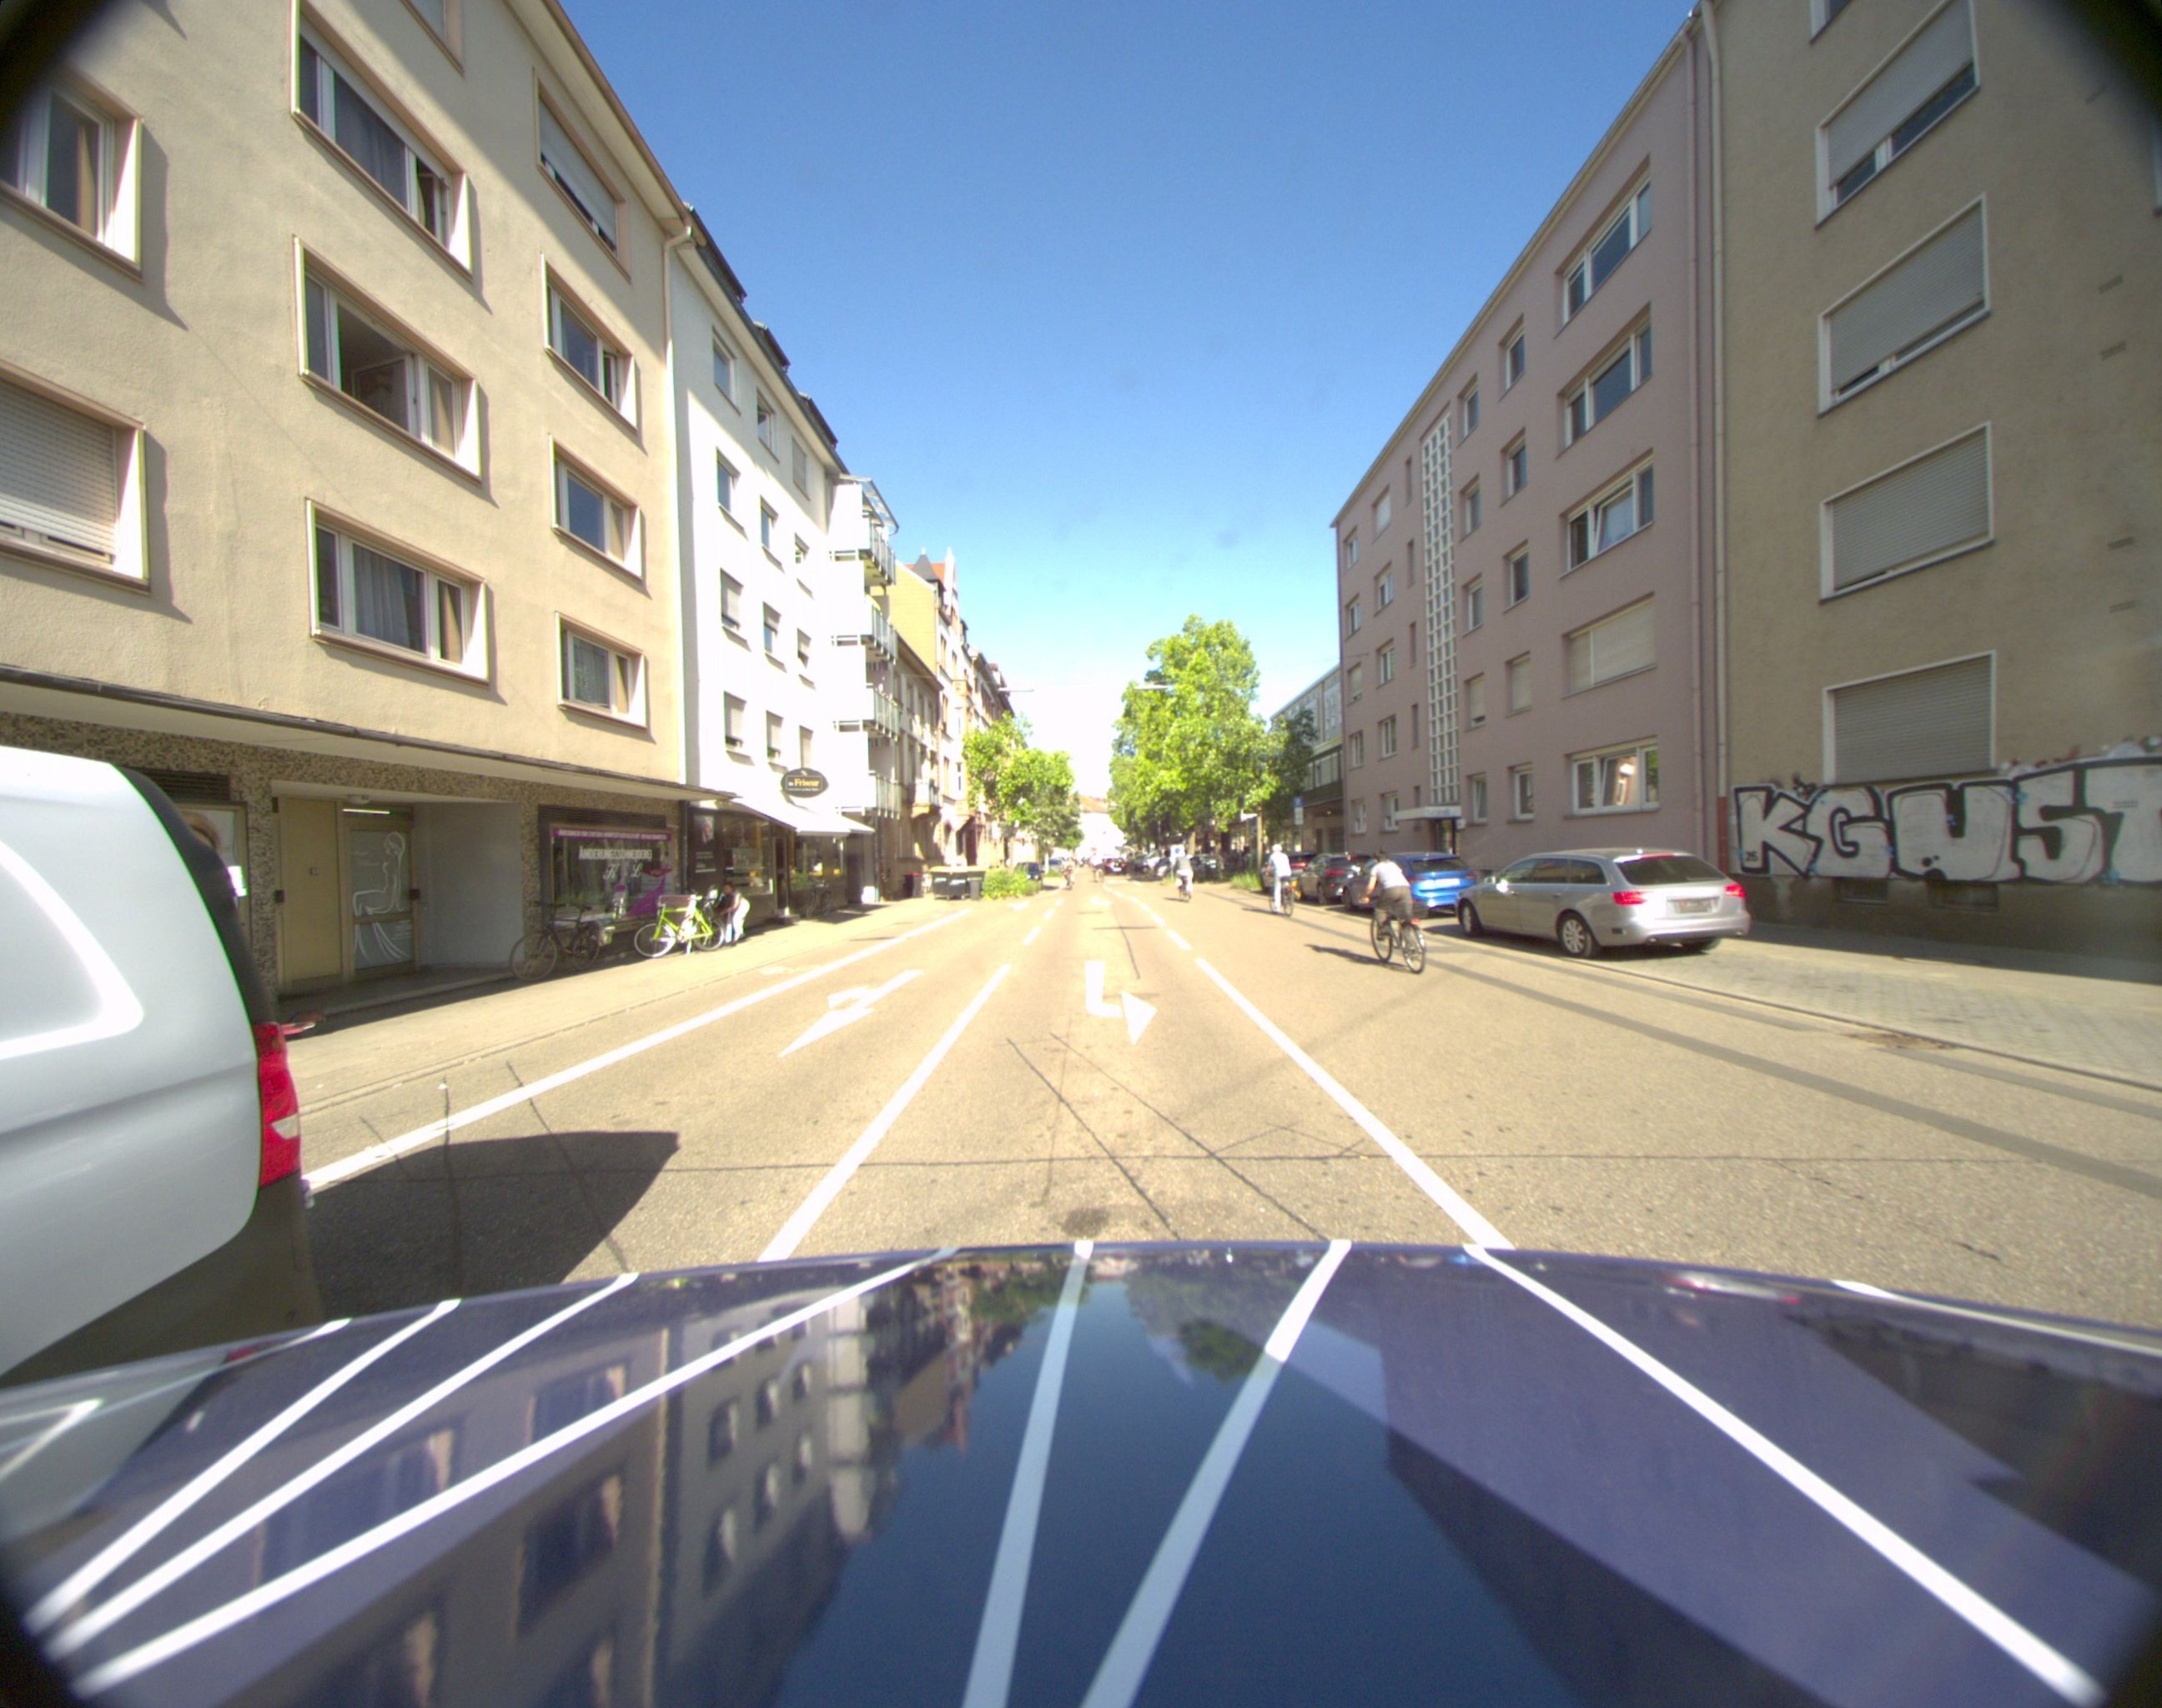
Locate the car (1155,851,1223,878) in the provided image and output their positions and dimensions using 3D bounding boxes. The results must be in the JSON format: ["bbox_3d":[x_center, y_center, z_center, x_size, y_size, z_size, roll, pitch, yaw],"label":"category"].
[{"bbox_3d":[6.625,0.642,46.946,3.996,1.543,1.913,-2,0,3],"label":"car"}]

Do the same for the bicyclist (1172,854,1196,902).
[{"bbox_3d":[3.424,0.781,25.234,0.681,1.567,0.899,0,1,1],"label":"bicyclist"}]

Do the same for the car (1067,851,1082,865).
[{"bbox_3d":[-0.795,0.463,93.502,1.627,1.586,3.547,-2,0,1],"label":"car"}]

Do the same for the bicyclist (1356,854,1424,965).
[{"bbox_3d":[4.024,0.696,9.942,0.544,1.383,0.788,-2,0,1],"label":"bicyclist"}]

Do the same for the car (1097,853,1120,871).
[{"bbox_3d":[2.434,0.676,68.631,1.911,1.543,4.000,-2,0,1],"label":"car"}]

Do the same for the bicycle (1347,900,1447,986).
[{"bbox_3d":[4.037,1.100,9.846,0.544,0.897,1.826,-2,0,1],"label":"bicycle"}]

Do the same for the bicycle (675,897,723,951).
[{"bbox_3d":[-7.714,1.407,15.401,0.376,0.977,1.175,-1,0,-1],"label":"bicycle"}]

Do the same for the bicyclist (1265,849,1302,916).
[{"bbox_3d":[5.017,0.687,18.864,0.681,1.621,0.899,0,1,1],"label":"bicyclist"}]

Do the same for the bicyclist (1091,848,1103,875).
[{"bbox_3d":[0.976,0.456,47.034,0.718,1.611,0.946,-1,1,1],"label":"bicyclist"}]

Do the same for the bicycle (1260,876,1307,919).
[{"bbox_3d":[5.022,1.054,18.947,0.681,0.946,1.934,-2,0,1],"label":"bicycle"}]

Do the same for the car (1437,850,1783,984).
[{"bbox_3d":[7.501,0.757,11.549,1.828,1.494,4.801,-4,0,0],"label":"car"}]

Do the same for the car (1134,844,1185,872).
[{"bbox_3d":[6.277,0.316,61.031,3.875,2.031,1.913,-2,0,3],"label":"car"}]

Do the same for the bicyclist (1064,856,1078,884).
[{"bbox_3d":[-0.501,0.820,38.397,0.582,1.369,0.665,-2,1,6],"label":"bicyclist"}]

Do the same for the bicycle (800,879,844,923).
[{"bbox_3d":[-7.378,1.307,21.730,0.598,1.137,1.774,1,0,1],"label":"bicycle"}]

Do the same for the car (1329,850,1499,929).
[{"bbox_3d":[7.639,0.730,18.035,1.828,1.494,4.801,-4,0,0],"label":"car"}]

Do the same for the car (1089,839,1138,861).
[{"bbox_3d":[3.785,-0.445,88.334,5.570,2.379,1.973,-2,0,-32],"label":"car"}]

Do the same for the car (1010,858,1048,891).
[{"bbox_3d":[-2.670,1.020,39.678,1.627,1.586,3.547,-2,0,1],"label":"car"}]

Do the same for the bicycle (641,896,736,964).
[{"bbox_3d":[-7.287,1.379,14.121,1.497,1.100,0.722,-2,0,-31],"label":"bicycle"}]

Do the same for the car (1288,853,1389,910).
[{"bbox_3d":[7.632,0.751,22.943,1.727,1.459,4.158,-4,0,2],"label":"car"}]

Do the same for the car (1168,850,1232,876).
[{"bbox_3d":[7.802,0.593,50.110,3.996,1.543,1.913,-2,0,3],"label":"car"}]

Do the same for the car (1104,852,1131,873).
[{"bbox_3d":[2.866,0.617,60.029,1.911,1.543,4.000,-2,0,1],"label":"car"}]

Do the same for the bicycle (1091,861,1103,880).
[{"bbox_3d":[1.001,1.016,47.097,0.718,1.057,1.872,-1,1,1],"label":"bicycle"}]

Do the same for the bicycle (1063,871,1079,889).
[{"bbox_3d":[-0.482,1.301,38.505,0.582,0.801,1.710,-2,0,6],"label":"bicycle"}]

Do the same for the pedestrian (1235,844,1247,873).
[{"bbox_3d":[9.835,0.273,46.783,0.623,1.795,0.502,-2,1,2],"label":"pedestrian"}]

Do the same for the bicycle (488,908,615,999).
[{"bbox_3d":[-7.580,1.383,10.983,0.407,1.078,1.801,1,0,6],"label":"bicycle"}]

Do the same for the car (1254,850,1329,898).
[{"bbox_3d":[7.778,0.700,28.428,1.727,1.567,4.158,-4,0,2],"label":"car"}]

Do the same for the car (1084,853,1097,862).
[{"bbox_3d":[1.351,0.463,102.562,1.627,1.270,3.547,-2,0,3],"label":"car"}]

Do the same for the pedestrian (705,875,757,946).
[{"bbox_3d":[-7.371,1.169,16.040,0.776,1.433,0.625,-2,1,-4],"label":"pedestrian"}]

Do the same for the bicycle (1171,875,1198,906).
[{"bbox_3d":[3.420,1.190,25.229,0.681,0.946,1.934,0,0,1],"label":"bicycle"}]

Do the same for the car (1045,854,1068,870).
[{"bbox_3d":[-2.309,0.750,72.362,1.914,1.444,3.547,-2,0,1],"label":"car"}]
